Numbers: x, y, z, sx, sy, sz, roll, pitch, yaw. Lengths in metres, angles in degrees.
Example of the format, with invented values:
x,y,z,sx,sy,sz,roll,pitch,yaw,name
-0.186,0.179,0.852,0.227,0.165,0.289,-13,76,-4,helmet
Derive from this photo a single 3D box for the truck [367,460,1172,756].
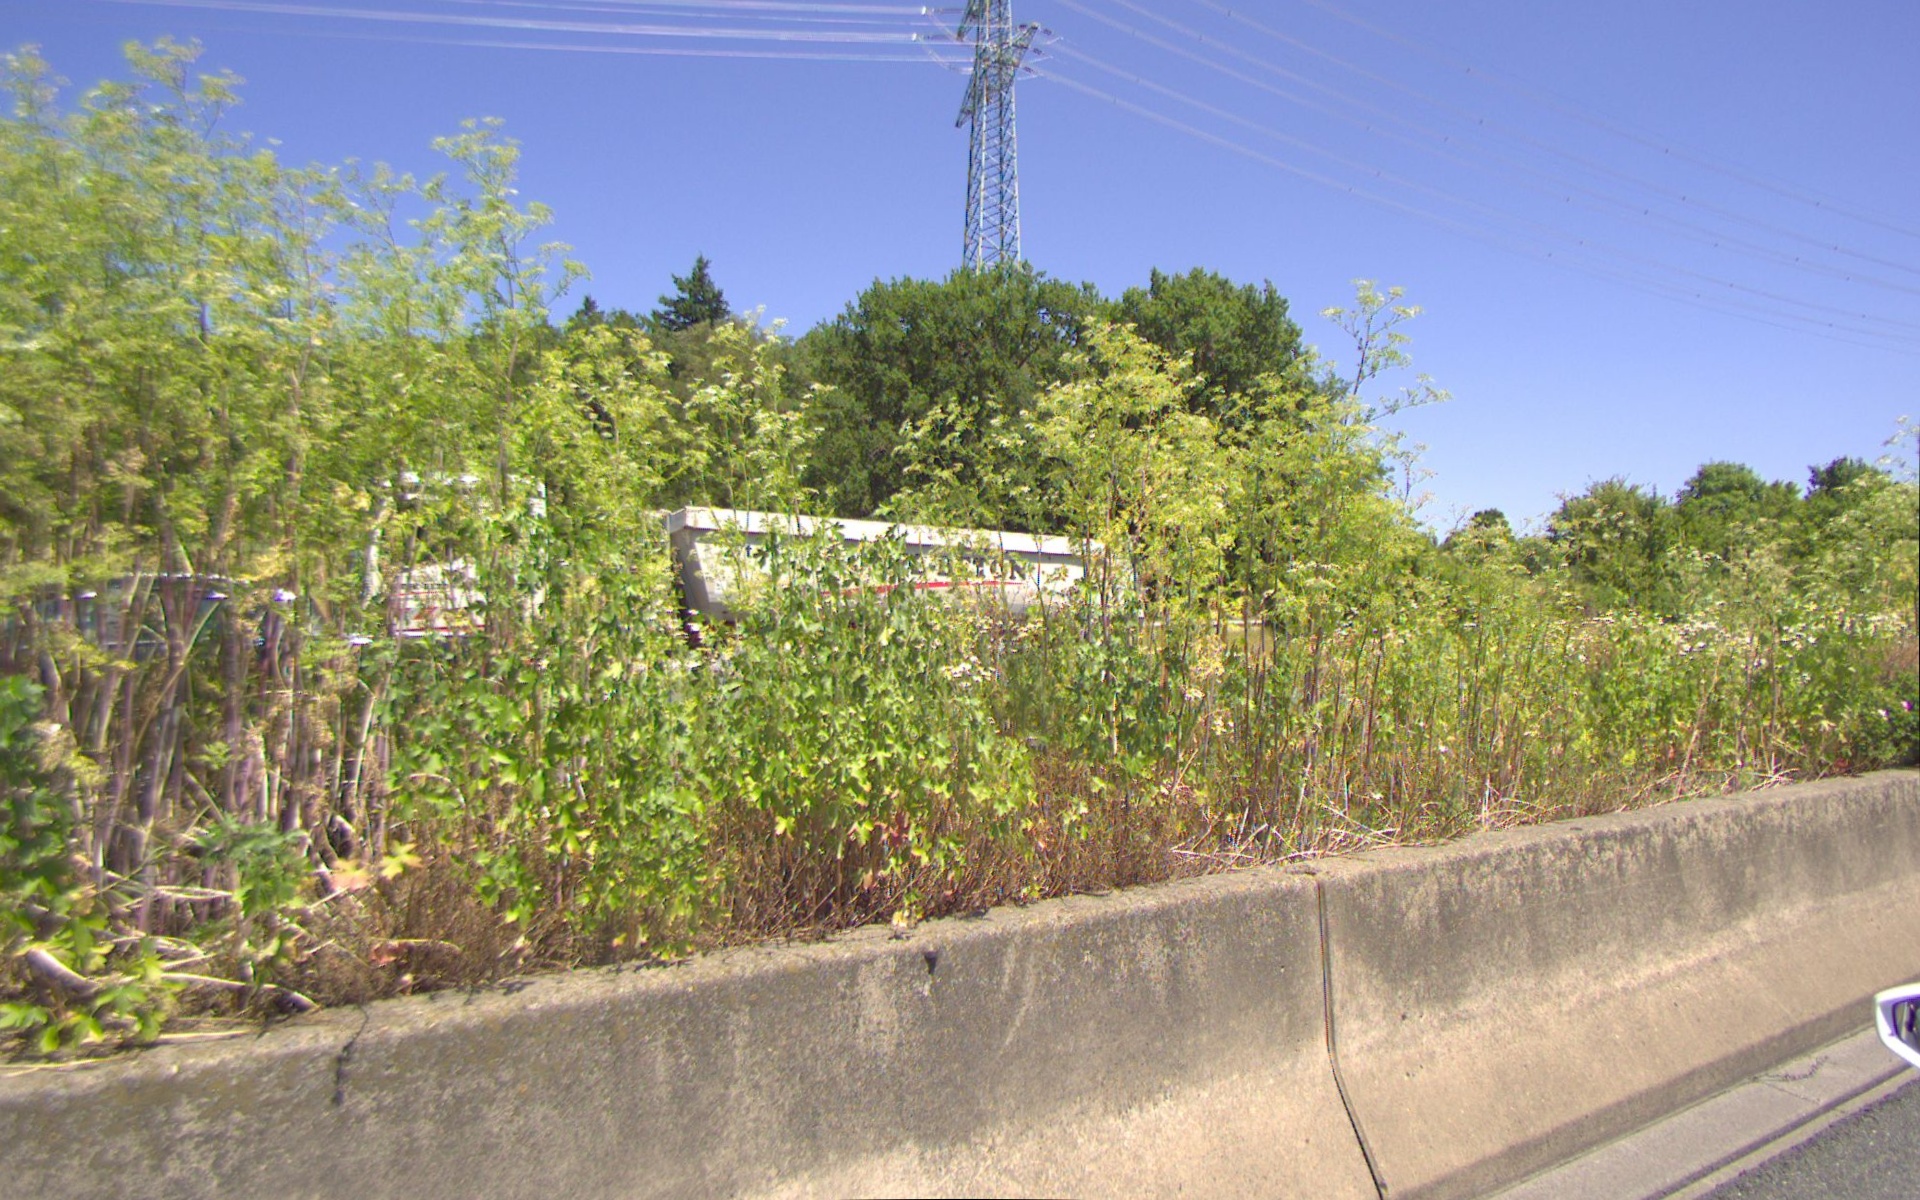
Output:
x,y,z,sx,sy,sz,roll,pitch,yaw,name
-2.186,0.244,15.379,11.674,3.332,2.753,2,-1,-29,truck

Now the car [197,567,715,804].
x,y,z,sx,sy,sz,roll,pitch,yaw,name
-4.493,0.711,9.389,3.979,1.811,1.597,2,-1,-30,car
